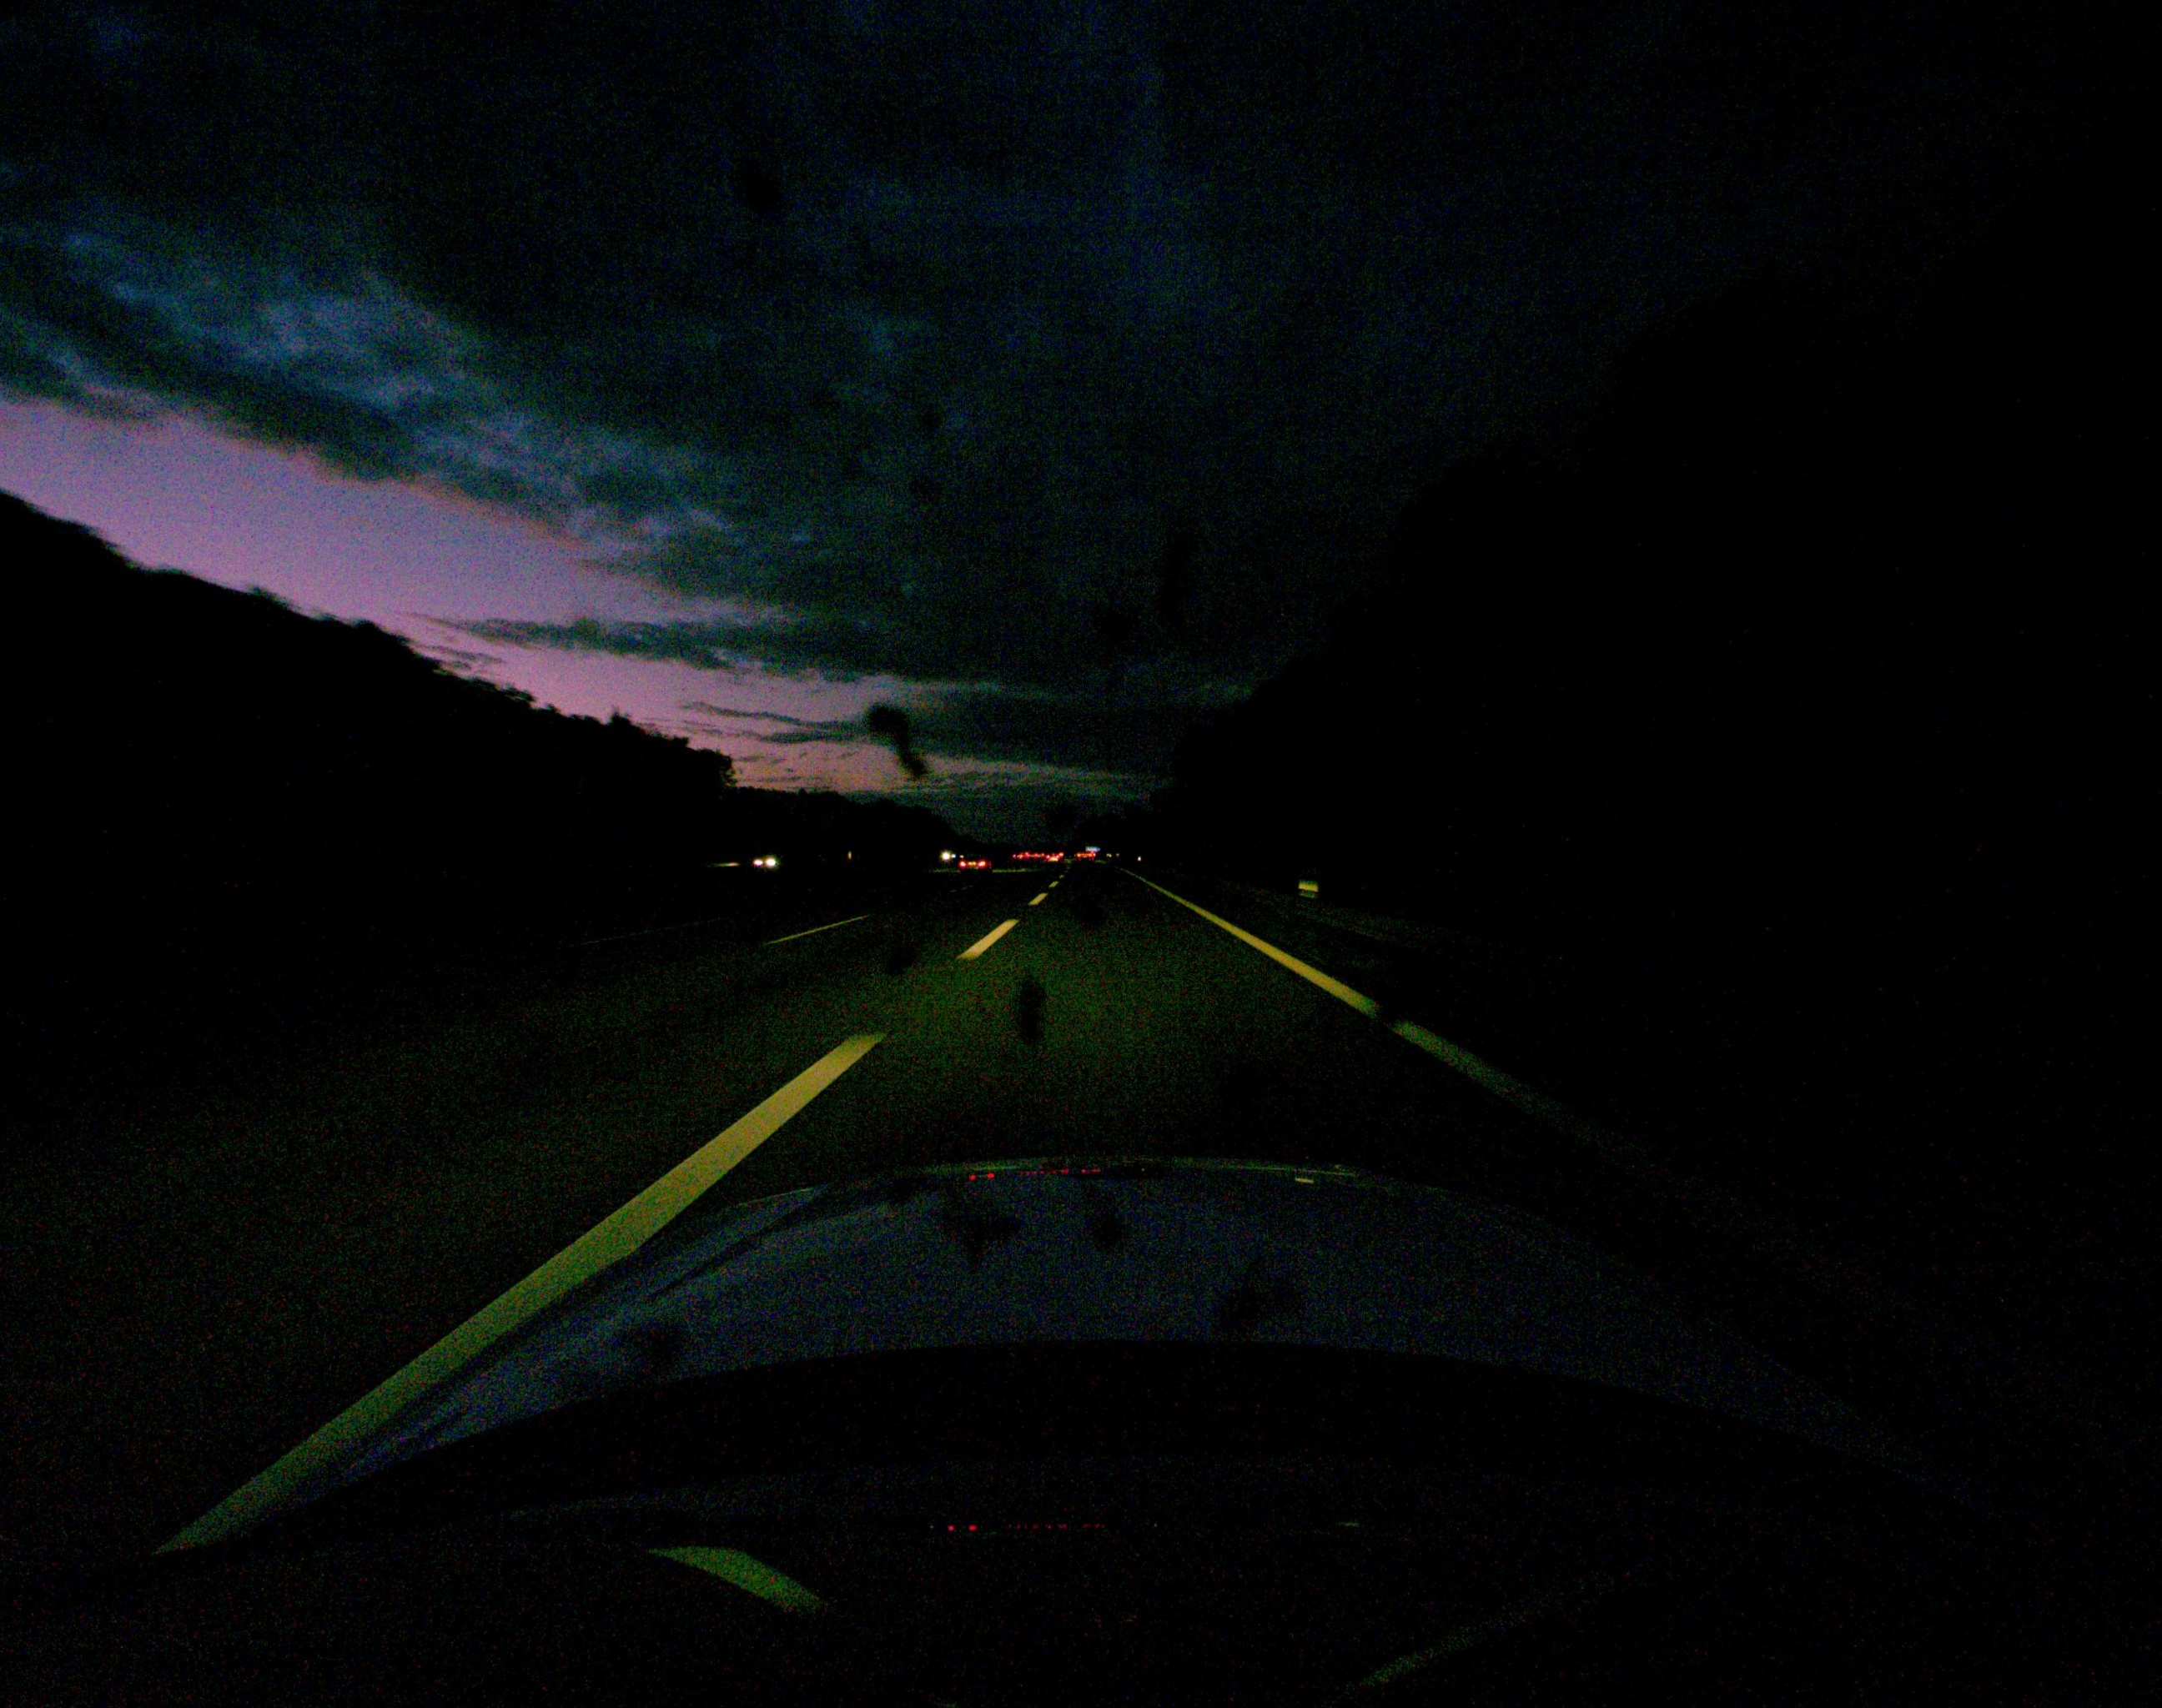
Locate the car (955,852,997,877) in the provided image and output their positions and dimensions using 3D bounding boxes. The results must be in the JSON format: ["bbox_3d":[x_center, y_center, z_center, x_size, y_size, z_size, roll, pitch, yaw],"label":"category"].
[{"bbox_3d":[-7.266,0.709,56.777,1.985,1.642,4.559,-1,0,3],"label":"car"}]

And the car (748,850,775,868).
[{"bbox_3d":[-36.640,0.547,93.330,2.007,2.014,4.961,0,0,-31],"label":"car"}]

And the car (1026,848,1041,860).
[{"bbox_3d":[-7.954,-0.003,136.189,2.064,2.013,4.001,-1,0,1],"label":"car"}]

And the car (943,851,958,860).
[{"bbox_3d":[-24.036,0.291,150.288,1.987,1.664,5.010,0,0,0],"label":"car"}]

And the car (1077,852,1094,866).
[{"bbox_3d":[0.479,0.558,97.536,1.987,1.659,4.314,-1,0,0],"label":"car"}]

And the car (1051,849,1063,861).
[{"bbox_3d":[-4.081,0.106,139.672,1.987,2.013,4.000,-1,0,1],"label":"car"}]

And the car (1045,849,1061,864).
[{"bbox_3d":[-3.866,0.309,111.911,1.987,2.013,3.999,0,0,0],"label":"car"}]

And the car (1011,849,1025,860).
[{"bbox_3d":[-11.784,0.005,153.041,2.095,2.013,4.004,-1,0,4],"label":"car"}]

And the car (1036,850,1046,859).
[{"bbox_3d":[-8.766,0.055,178.685,1.989,2.014,3.995,0,0,-3],"label":"car"}]
